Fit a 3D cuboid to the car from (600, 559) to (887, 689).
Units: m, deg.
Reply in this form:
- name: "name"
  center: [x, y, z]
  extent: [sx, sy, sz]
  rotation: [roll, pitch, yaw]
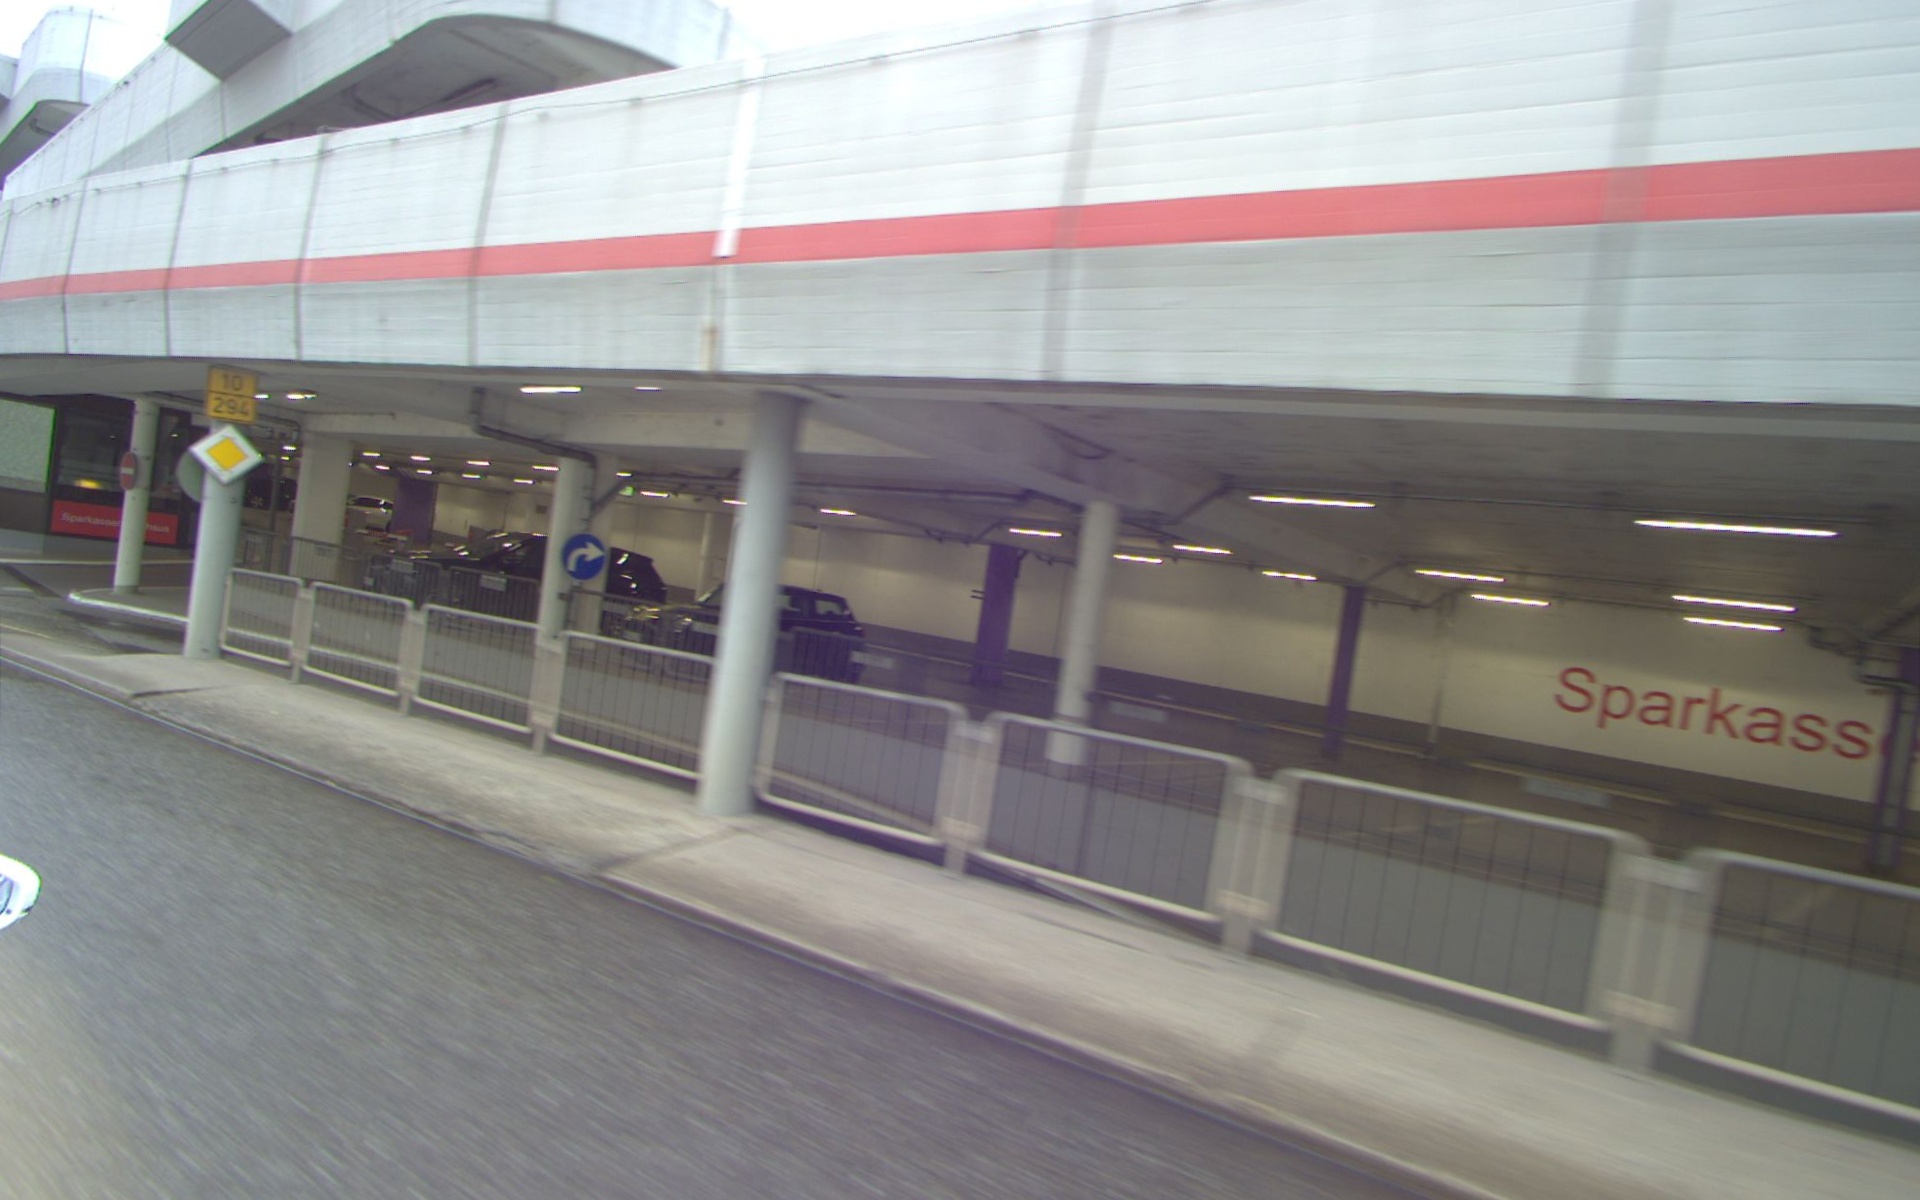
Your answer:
- name: "car"
  center: [-3.062, 0.417, 14.797]
  extent: [1.781, 1.524, 3.718]
  rotation: [8, 1, 40]

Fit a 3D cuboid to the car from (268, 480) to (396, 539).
- name: "car"
  center: [-25.922, -3.725, 41.609]
  extent: [1.972, 1.658, 3.985]
  rotation: [6, -3, 41]

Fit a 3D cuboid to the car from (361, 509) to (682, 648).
- name: "car"
  center: [-7.321, -0.295, 17.189]
  extent: [1.798, 1.658, 4.570]
  rotation: [6, -3, 43]
